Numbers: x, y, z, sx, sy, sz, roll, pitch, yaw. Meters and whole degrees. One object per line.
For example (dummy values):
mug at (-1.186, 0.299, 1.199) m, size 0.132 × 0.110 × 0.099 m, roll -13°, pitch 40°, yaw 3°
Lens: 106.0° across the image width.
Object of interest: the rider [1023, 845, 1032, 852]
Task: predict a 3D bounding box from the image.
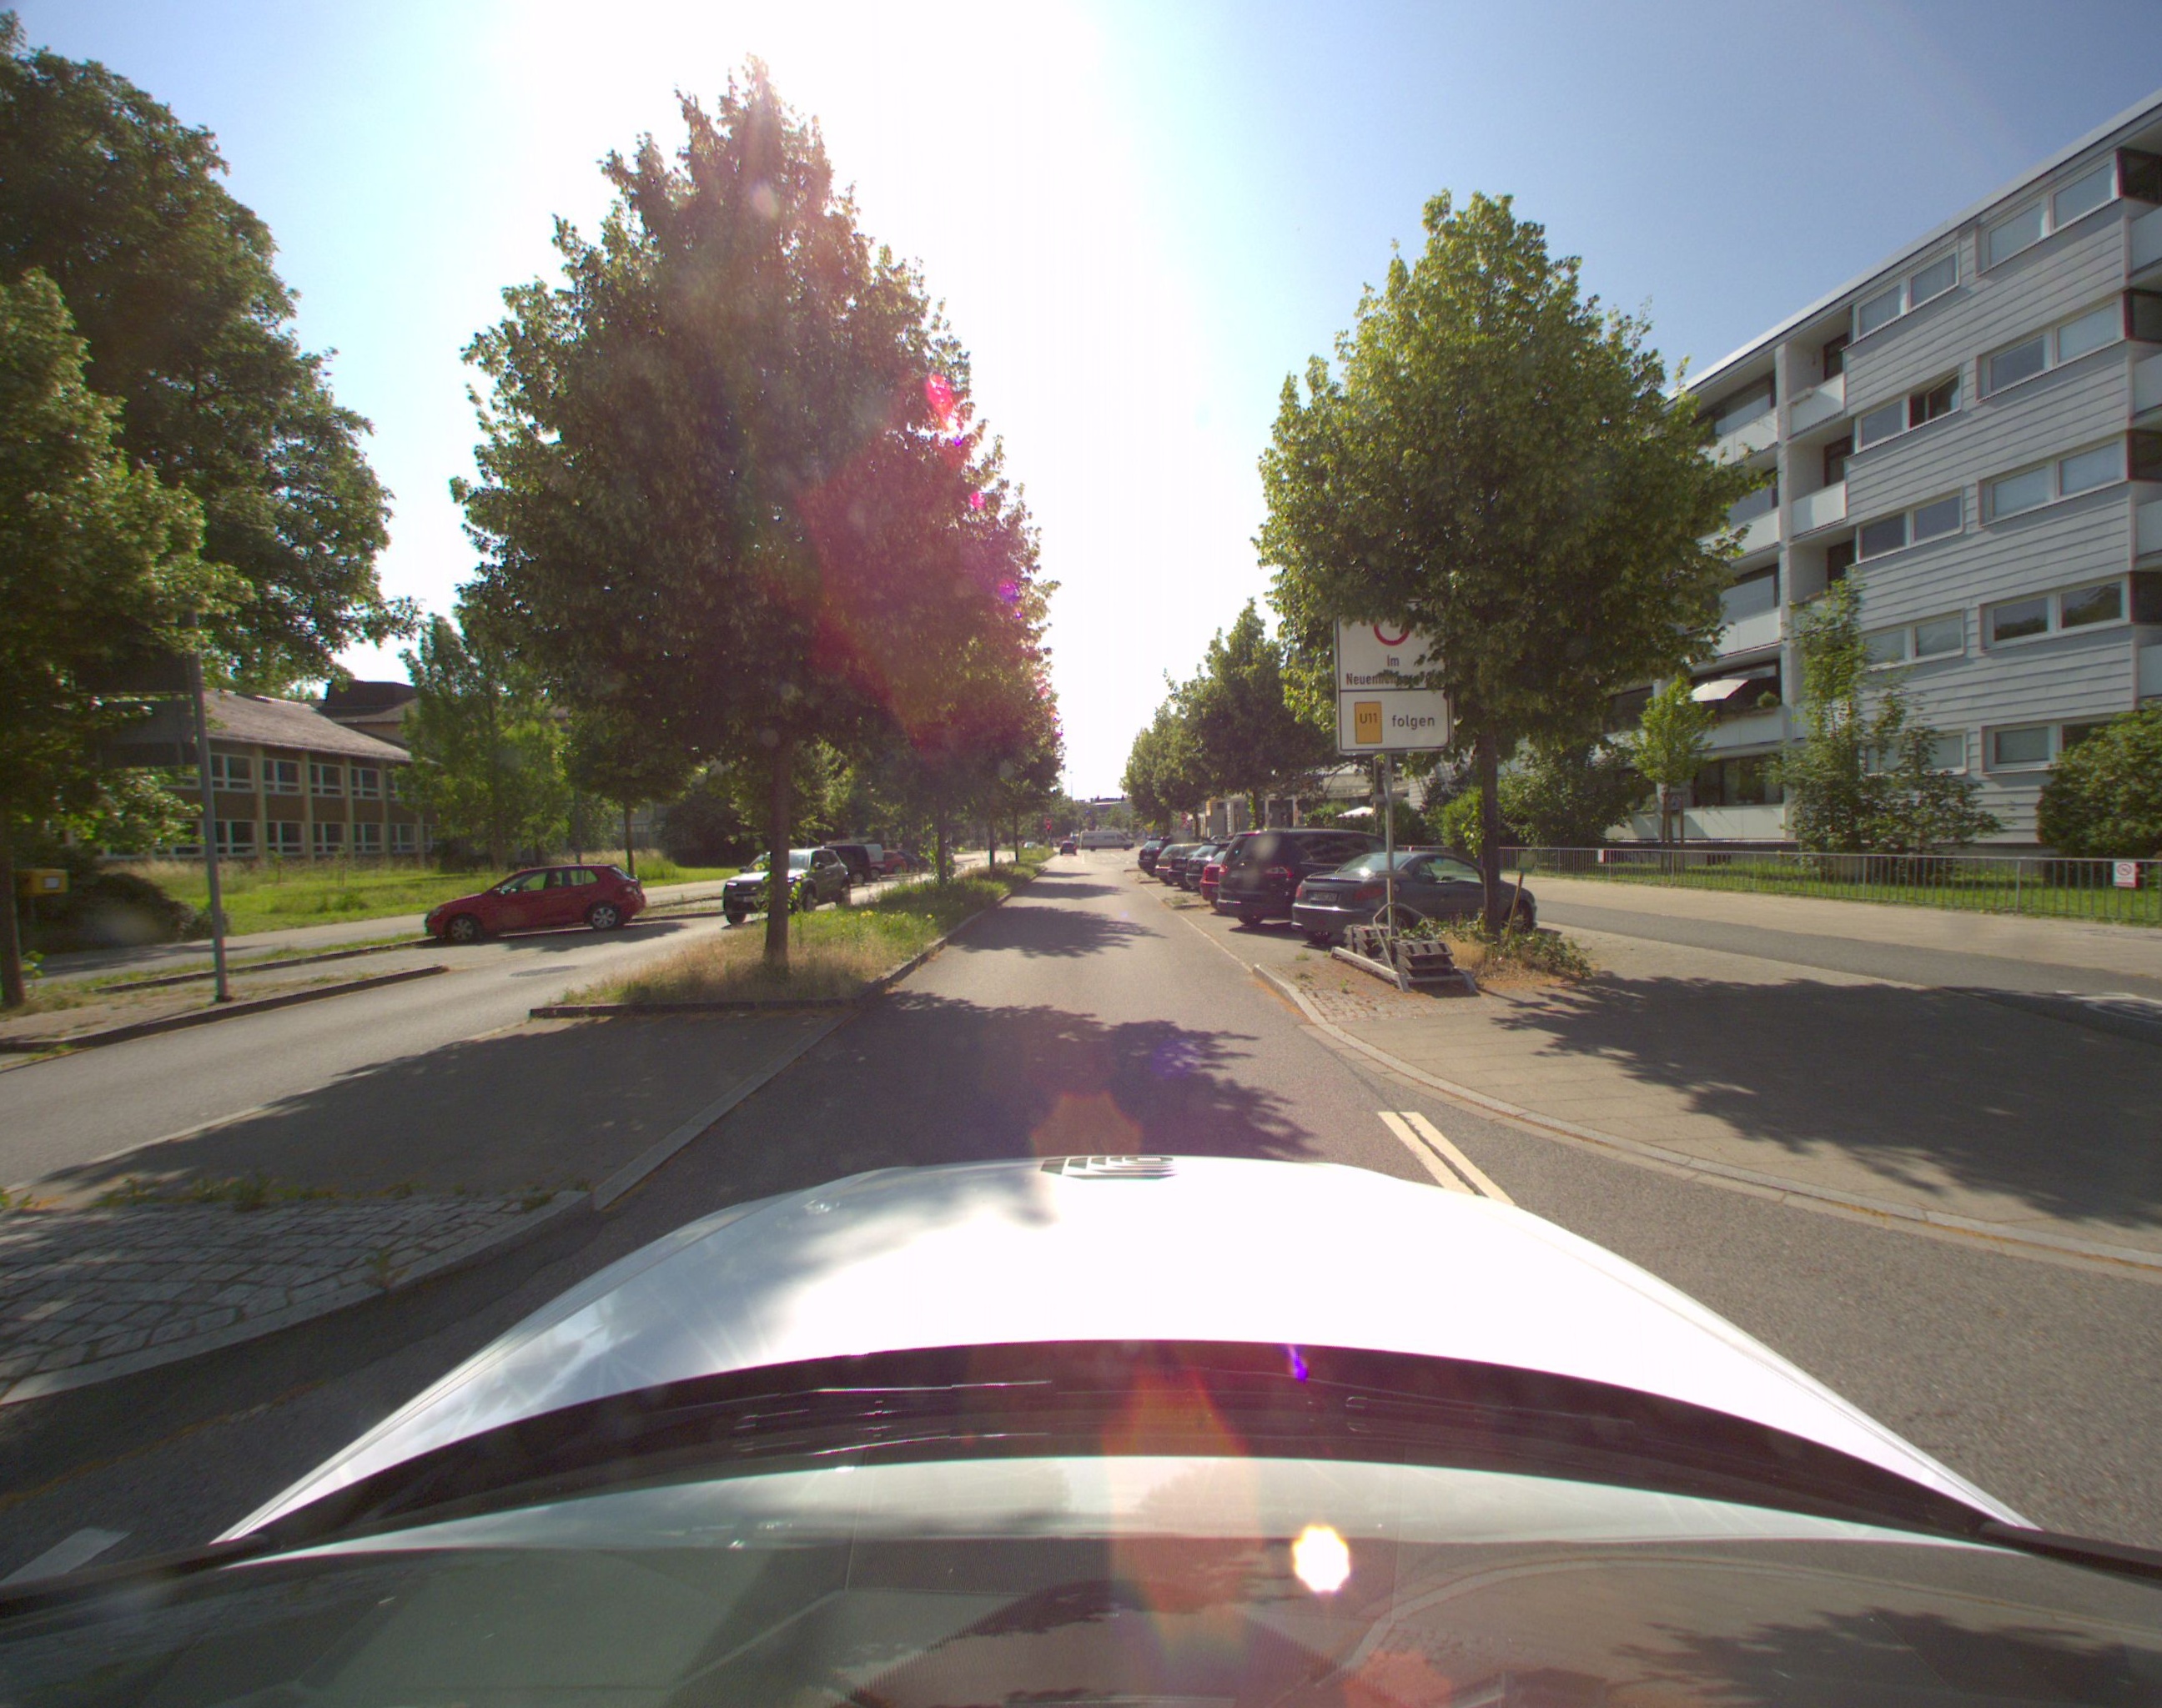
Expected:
rider at (-9.245, -0.906, 141.114) m, size 1.388 × 1.196 × 2.696 m, roll -1°, pitch 0°, yaw -2°

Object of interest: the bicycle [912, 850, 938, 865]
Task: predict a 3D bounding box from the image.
bicycle at (-11.840, 0.292, 61.895) m, size 1.839 × 1.106 × 0.693 m, roll -1°, pitch 0°, yaw 1°

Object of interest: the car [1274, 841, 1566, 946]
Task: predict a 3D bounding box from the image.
car at (5.000, 0.490, 11.967) m, size 4.007 × 1.236 × 1.738 m, roll -2°, pitch 0°, yaw -26°

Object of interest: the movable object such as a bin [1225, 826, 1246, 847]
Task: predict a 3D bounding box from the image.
movable object such as a bin at (12.516, -1.429, 66.184) m, size 1.304 × 1.592 × 1.394 m, roll -4°, pitch 0°, yaw -3°

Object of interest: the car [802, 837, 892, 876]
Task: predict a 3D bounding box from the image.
car at (-11.304, 0.101, 39.366) m, size 3.787 × 1.772 × 1.801 m, roll -2°, pitch 0°, yaw -31°

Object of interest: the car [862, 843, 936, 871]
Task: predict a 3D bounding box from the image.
car at (-10.703, 0.161, 47.938) m, size 3.794 × 1.423 × 1.834 m, roll -3°, pitch 2°, yaw -40°

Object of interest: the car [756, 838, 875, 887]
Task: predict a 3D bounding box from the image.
car at (-10.945, 0.305, 33.706) m, size 4.209 × 1.816 × 1.982 m, roll -3°, pitch 1°, yaw -38°

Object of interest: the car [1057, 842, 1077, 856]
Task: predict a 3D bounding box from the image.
car at (-1.492, -0.518, 86.041) m, size 1.989 × 1.398 × 3.996 m, roll -1°, pitch 0°, yaw -3°

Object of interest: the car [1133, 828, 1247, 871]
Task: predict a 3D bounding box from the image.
car at (4.625, -0.198, 34.267) m, size 4.765 × 1.660 × 1.734 m, roll -2°, pitch 0°, yaw -34°

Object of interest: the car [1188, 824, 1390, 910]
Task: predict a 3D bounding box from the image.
car at (4.502, 0.233, 17.536) m, size 4.012 × 1.640 × 1.862 m, roll -2°, pitch -1°, yaw -30°

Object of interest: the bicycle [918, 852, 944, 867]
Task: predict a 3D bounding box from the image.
bicycle at (-11.669, 0.408, 63.314) m, size 1.839 × 1.122 × 0.693 m, roll -1°, pitch 0°, yaw 1°

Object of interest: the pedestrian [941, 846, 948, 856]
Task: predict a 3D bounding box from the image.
pedestrian at (-21.603, -0.468, 128.588) m, size 0.648 × 1.611 × 0.947 m, roll -1°, pitch 0°, yaw 23°

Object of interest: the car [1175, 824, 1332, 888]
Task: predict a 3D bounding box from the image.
car at (4.856, 0.024, 23.032) m, size 3.999 × 1.640 × 1.789 m, roll -2°, pitch 0°, yaw -19°

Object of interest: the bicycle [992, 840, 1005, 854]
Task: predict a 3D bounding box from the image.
bicycle at (-13.525, -1.161, 134.061) m, size 1.594 × 2.269 × 4.000 m, roll -1°, pitch 0°, yaw 0°

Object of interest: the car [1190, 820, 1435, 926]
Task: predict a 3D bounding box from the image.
car at (4.205, 0.257, 14.648) m, size 4.136 × 1.640 × 2.023 m, roll -2°, pitch 0°, yaw -33°

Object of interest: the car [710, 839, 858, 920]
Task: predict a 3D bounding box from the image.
car at (-6.613, 0.509, 18.618) m, size 1.735 × 1.547 × 4.074 m, roll -3°, pitch 0°, yaw 1°

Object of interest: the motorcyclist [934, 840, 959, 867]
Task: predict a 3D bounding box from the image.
motorcyclist at (-6.119, -0.026, 37.014) m, size 0.897 × 1.221 × 1.062 m, roll -1°, pitch 0°, yaw 1°

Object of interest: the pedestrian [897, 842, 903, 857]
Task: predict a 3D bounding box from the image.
pedestrian at (-21.305, -0.527, 95.814) m, size 0.660 × 1.726 × 0.748 m, roll -2°, pitch 0°, yaw -18°

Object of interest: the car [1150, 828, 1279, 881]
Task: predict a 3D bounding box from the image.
car at (4.550, 0.011, 27.924) m, size 3.990 × 1.640 × 1.746 m, roll -2°, pitch 0°, yaw -12°

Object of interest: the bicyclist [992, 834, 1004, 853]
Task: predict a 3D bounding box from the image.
bicyclist at (-13.527, -1.714, 133.241) m, size 1.594 × 2.931 × 2.353 m, roll -1°, pitch 0°, yaw 0°

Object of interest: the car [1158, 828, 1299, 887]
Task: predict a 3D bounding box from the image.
car at (4.580, 0.068, 25.299) m, size 4.003 × 1.639 × 1.740 m, roll -2°, pitch 1°, yaw -22°

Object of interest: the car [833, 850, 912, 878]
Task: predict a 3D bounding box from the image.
car at (-11.358, 0.531, 44.443) m, size 3.859 × 1.423 × 1.697 m, roll -2°, pitch 0°, yaw -36°

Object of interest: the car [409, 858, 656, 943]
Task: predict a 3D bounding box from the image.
car at (-11.635, 0.921, 17.653) m, size 4.002 × 1.466 × 1.986 m, roll -3°, pitch 1°, yaw -21°

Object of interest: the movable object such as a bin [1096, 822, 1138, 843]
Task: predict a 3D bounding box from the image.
movable object such as a bin at (8.274, -4.994, 188.404) m, size 9.639 × 4.549 × 3.165 m, roll -1°, pitch 0°, yaw 1°

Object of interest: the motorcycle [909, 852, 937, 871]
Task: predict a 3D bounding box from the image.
motorcycle at (-10.781, 0.509, 55.573) m, size 1.843 × 1.284 × 0.691 m, roll -1°, pitch 0°, yaw -7°

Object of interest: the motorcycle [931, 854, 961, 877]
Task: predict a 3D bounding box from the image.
motorcycle at (-6.109, 0.504, 36.968) m, size 0.920 × 0.992 × 2.235 m, roll -1°, pitch 0°, yaw 1°

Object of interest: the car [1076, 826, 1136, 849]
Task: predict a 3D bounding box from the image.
car at (3.193, -2.060, 104.139) m, size 7.412 × 2.674 × 2.900 m, roll -2°, pitch 1°, yaw -4°

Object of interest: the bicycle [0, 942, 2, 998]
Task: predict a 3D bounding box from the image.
bicycle at (-13.365, 1.311, 9.260) m, size 0.520 × 0.903 × 1.268 m, roll -3°, pitch 0°, yaw -4°
